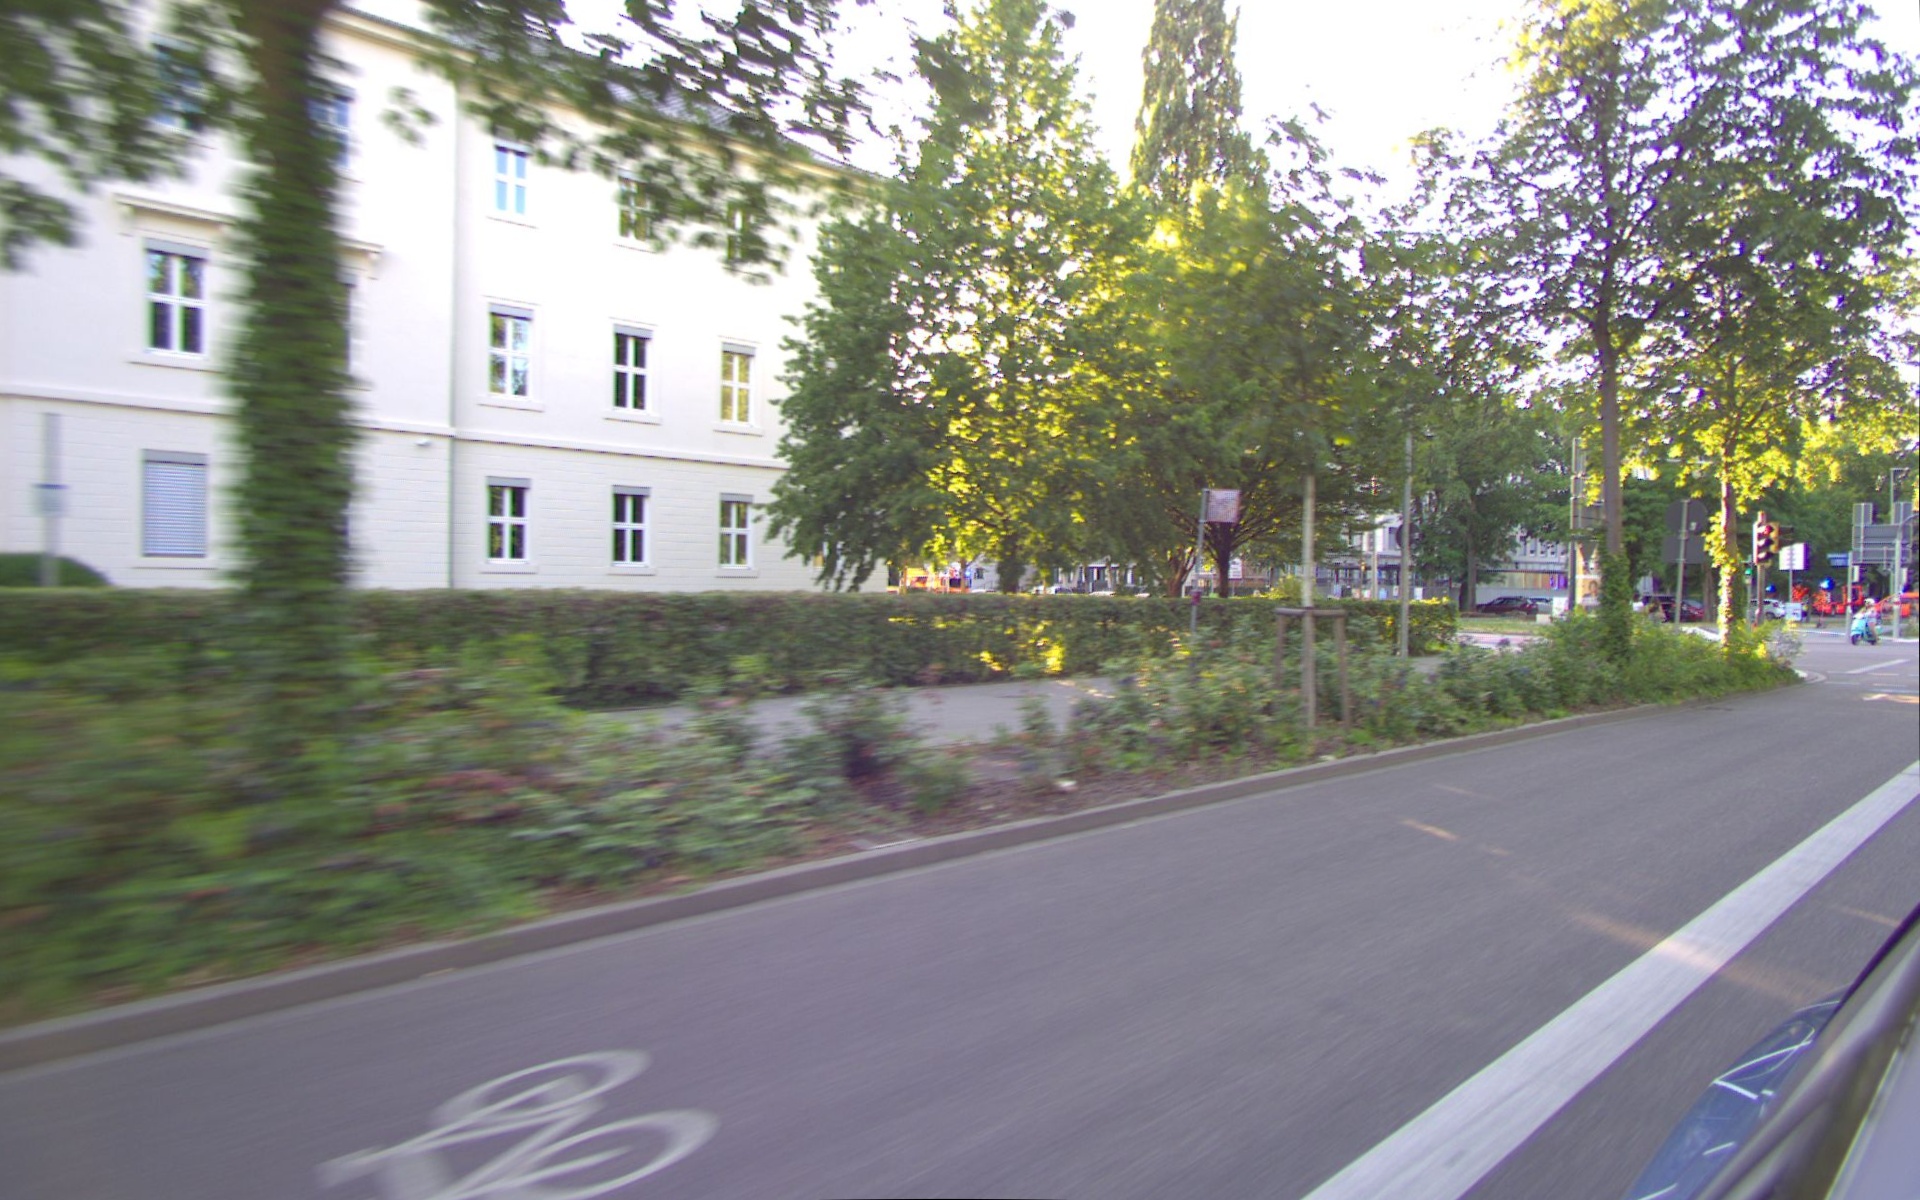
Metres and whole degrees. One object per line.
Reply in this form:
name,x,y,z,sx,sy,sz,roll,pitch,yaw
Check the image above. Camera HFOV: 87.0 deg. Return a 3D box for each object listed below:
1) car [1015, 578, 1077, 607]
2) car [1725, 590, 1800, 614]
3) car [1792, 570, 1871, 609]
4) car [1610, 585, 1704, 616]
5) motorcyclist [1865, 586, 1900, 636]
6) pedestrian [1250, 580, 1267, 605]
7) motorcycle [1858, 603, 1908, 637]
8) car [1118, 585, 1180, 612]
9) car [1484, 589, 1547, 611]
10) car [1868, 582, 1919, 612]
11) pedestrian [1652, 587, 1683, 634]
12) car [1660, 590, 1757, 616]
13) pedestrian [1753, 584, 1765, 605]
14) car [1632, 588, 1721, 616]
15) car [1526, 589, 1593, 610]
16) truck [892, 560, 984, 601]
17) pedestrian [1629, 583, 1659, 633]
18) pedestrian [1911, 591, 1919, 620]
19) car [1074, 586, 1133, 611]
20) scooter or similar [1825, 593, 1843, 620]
car,5.983,-0.492,70.896,2.016,1.886,4.498,0,-1,-32
car,54.245,0.112,68.451,1.631,1.477,3.669,0,1,-31
car,77.052,-0.908,89.422,8.131,3.284,2.777,0,1,-30
car,41.533,0.014,60.421,1.881,1.762,4.243,0,1,-30
motorcyclist,33.440,0.395,36.677,0.676,1.759,0.742,1,-1,-26
pedestrian,20.792,-0.541,70.485,0.690,1.760,0.897,0,0,-28
motorcycle,33.437,0.712,36.668,1.855,1.213,0.685,0,0,-26
car,12.220,-0.115,65.707,1.862,1.660,4.005,0,1,-29
car,40.247,-0.023,73.380,1.736,1.477,3.629,0,1,-34
car,78.432,-0.283,83.330,1.961,2.422,5.172,0,1,-33
pedestrian,25.100,0.367,35.904,0.829,1.643,0.683,1,0,-36
car,46.664,0.152,63.156,1.882,1.482,4.522,0,1,-33
pedestrian,74.115,-0.497,93.853,0.830,1.865,0.683,1,0,-35
car,43.839,0.077,61.980,1.880,1.631,4.005,0,1,-29
car,44.966,-0.054,76.010,1.878,1.540,3.923,0,1,-27
truck,-1.978,-1.592,83.186,2.589,3.179,10.281,0,1,-32
pedestrian,24.672,0.286,36.505,0.675,1.776,0.683,1,0,-36
pedestrian,50.838,0.277,53.502,0.775,1.542,0.736,0,1,-41
car,9.842,-0.140,69.693,1.960,1.632,4.004,0,1,-30
scooter or similar,42.817,0.324,49.570,1.157,1.288,0.441,0,1,-37
